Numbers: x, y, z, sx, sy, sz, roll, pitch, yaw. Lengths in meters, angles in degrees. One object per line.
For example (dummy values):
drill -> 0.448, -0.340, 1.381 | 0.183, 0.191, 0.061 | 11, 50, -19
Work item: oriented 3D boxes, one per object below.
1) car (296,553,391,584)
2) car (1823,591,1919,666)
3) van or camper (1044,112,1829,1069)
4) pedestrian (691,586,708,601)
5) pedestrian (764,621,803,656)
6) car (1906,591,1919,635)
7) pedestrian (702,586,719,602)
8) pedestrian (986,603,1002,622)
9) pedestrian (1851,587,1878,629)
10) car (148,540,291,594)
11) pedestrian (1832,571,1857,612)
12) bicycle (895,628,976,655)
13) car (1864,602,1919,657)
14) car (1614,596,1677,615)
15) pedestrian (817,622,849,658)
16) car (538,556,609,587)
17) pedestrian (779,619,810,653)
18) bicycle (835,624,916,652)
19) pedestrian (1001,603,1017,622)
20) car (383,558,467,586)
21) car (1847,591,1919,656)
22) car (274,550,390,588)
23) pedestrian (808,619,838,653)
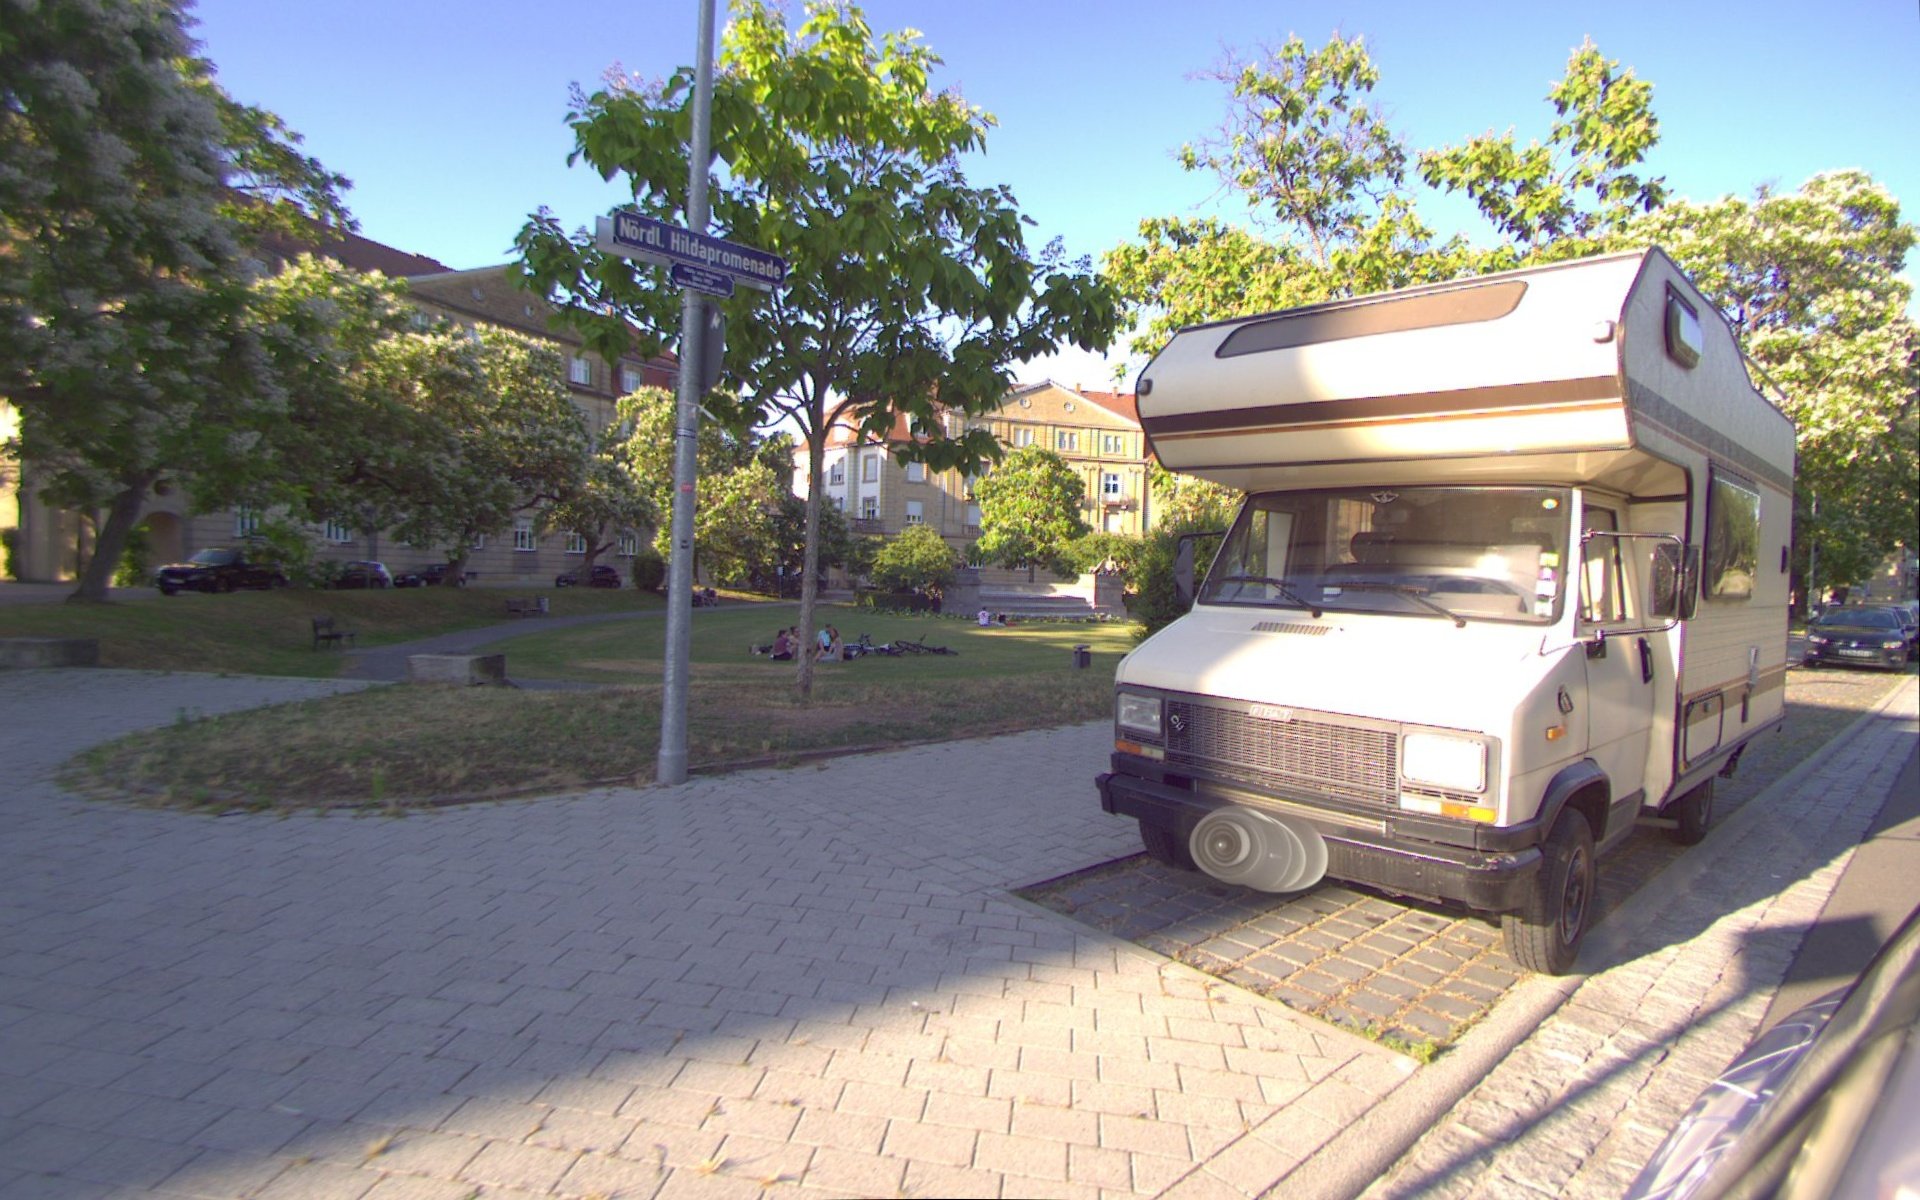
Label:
car -> -31.439, -1.601, 51.741 | 1.854, 1.471, 3.981 | 2, 2, 15
car -> 20.659, 0.572, 22.809 | 1.626, 1.482, 4.183 | 3, 2, 43
van or camper -> 3.185, -0.104, 5.869 | 5.580, 2.939, 2.236 | -1, 3, -44
pedestrian -> -13.927, -0.352, 54.087 | 0.584, 0.804, 0.659 | 3, 2, 35
pedestrian -> -4.306, 0.938, 24.753 | 0.711, 0.823, 0.612 | 1, 0, -42
car -> 40.663, 0.563, 42.096 | 4.439, 1.761, 1.680 | 0, 2, -44
pedestrian -> -13.487, -0.336, 54.675 | 0.584, 0.804, 0.659 | 3, 2, 35
pedestrian -> 1.550, 0.555, 45.882 | 0.655, 0.804, 0.587 | 2, 1, 4
pedestrian -> 38.193, 0.339, 42.746 | 0.719, 1.758, 0.754 | 1, 0, -43
car -> -26.578, -1.205, 36.525 | 1.845, 1.767, 4.527 | 2, 2, 0
pedestrian -> 38.676, -0.378, 44.253 | 0.719, 1.758, 0.726 | 1, 0, -43
bicycle -> -0.692, 1.125, 27.771 | 1.774, 0.622, 1.775 | 1, 1, -19
car -> 29.697, 0.892, 31.621 | 4.203, 1.570, 1.734 | 0, 2, -43
car -> 60.420, 0.505, 89.338 | 4.326, 1.435, 1.828 | 3, 2, 27
pedestrian -> -3.102, 0.970, 24.696 | 0.601, 0.823, 0.473 | 1, 0, -42
car -> -23.315, -1.693, 61.181 | 1.974, 1.727, 3.976 | 1, 1, 19
pedestrian -> -4.233, 0.914, 25.922 | 0.601, 0.823, 0.473 | 1, 0, -42
bicycle -> -2.288, 1.017, 27.181 | 1.774, 0.622, 1.775 | 1, 1, -19
pedestrian -> 2.219, 0.578, 45.812 | 0.655, 0.804, 0.587 | 2, 1, 4
car -> -30.098, -1.573, 57.055 | 1.858, 1.471, 3.974 | 2, 2, 20
car -> 25.305, 0.582, 27.319 | 4.350, 1.570, 1.733 | 0, 2, -45
car -> -26.738, -1.333, 43.292 | 1.849, 1.471, 4.358 | 2, 2, 8
pedestrian -> -3.607, 0.929, 26.654 | 0.563, 0.823, 1.259 | 1, 0, 2
